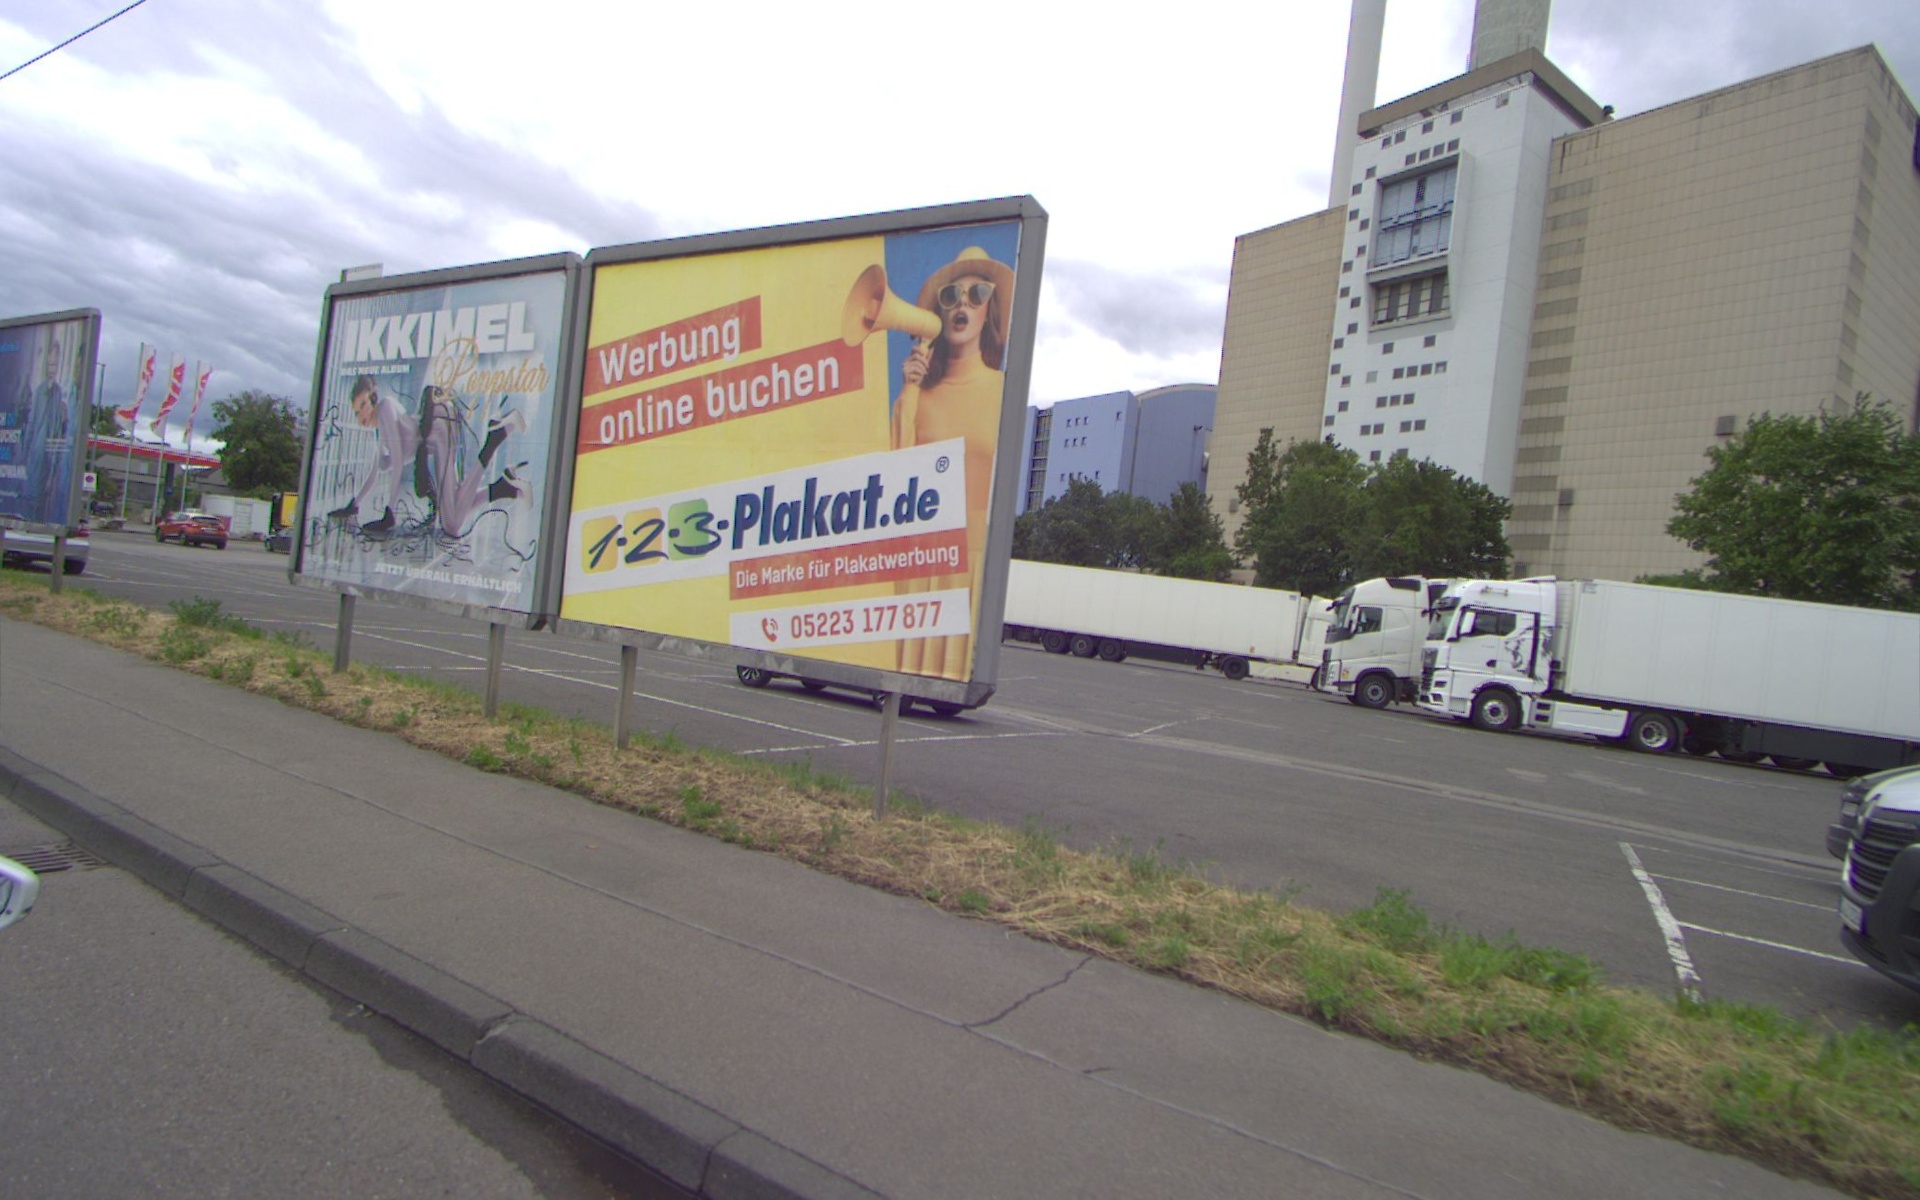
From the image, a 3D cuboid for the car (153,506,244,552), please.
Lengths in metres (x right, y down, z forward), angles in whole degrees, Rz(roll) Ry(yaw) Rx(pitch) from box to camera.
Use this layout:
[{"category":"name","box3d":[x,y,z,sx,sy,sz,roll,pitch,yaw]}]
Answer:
[{"category":"car","box3d":[-36.867,-3.438,48.686,3.932,1.727,1.997,6,0,30]}]

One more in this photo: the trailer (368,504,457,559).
[{"category":"trailer","box3d":[-46.992,-5.897,86.264,7.365,3.740,3.017,8,1,30]}]

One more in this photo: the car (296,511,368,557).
[{"category":"car","box3d":[-44.511,-4.703,71.248,5.282,2.680,2.092,7,0,33]}]

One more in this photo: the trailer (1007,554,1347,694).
[{"category":"trailer","box3d":[9.543,0.978,45.347,14.145,4.260,3.110,8,1,18]}]

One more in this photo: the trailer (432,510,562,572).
[{"category":"trailer","box3d":[-43.277,-5.591,93.674,14.672,4.202,2.873,8,1,31]}]

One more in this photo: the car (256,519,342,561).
[{"category":"car","box3d":[-34.907,-3.178,53.115,4.117,1.727,1.997,6,0,30]}]

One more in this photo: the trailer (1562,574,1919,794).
[{"category":"trailer","box3d":[20.400,2.090,24.686,8.770,4.243,2.769,8,1,15]}]

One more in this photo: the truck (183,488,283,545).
[{"category":"truck","box3d":[-52.819,-6.075,73.016,7.385,3.184,3.178,8,0,33]}]

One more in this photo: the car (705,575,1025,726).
[{"category":"car","box3d":[-1.464,0.704,15.092,4.353,1.632,1.893,6,-1,30]}]

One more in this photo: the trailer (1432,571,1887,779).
[{"category":"trailer","box3d":[19.444,1.979,28.754,9.944,4.243,2.769,8,1,12]}]

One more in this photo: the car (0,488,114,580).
[{"category":"car","box3d":[-18.890,-1.411,19.938,4.356,1.461,1.893,6,-2,32]}]

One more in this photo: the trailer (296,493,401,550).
[{"category":"trailer","box3d":[-51.313,-6.612,84.291,9.970,3.673,3.036,8,1,32]}]

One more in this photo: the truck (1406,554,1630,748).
[{"category":"truck","box3d":[14.393,1.279,26.330,4.077,4.268,2.788,8,1,15]}]

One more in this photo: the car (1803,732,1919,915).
[{"category":"car","box3d":[10.029,2.178,8.346,4.359,1.461,1.892,6,-3,35]}]

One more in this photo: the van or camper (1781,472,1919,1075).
[{"category":"van or camper","box3d":[7.274,1.073,3.779,6.014,2.680,2.258,6,0,33]}]

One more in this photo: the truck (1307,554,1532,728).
[{"category":"truck","box3d":[13.491,1.174,30.040,5.139,4.268,2.788,8,1,12]}]

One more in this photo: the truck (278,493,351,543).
[{"category":"truck","box3d":[-55.964,-7.102,87.168,5.414,3.506,3.036,8,1,32]}]
